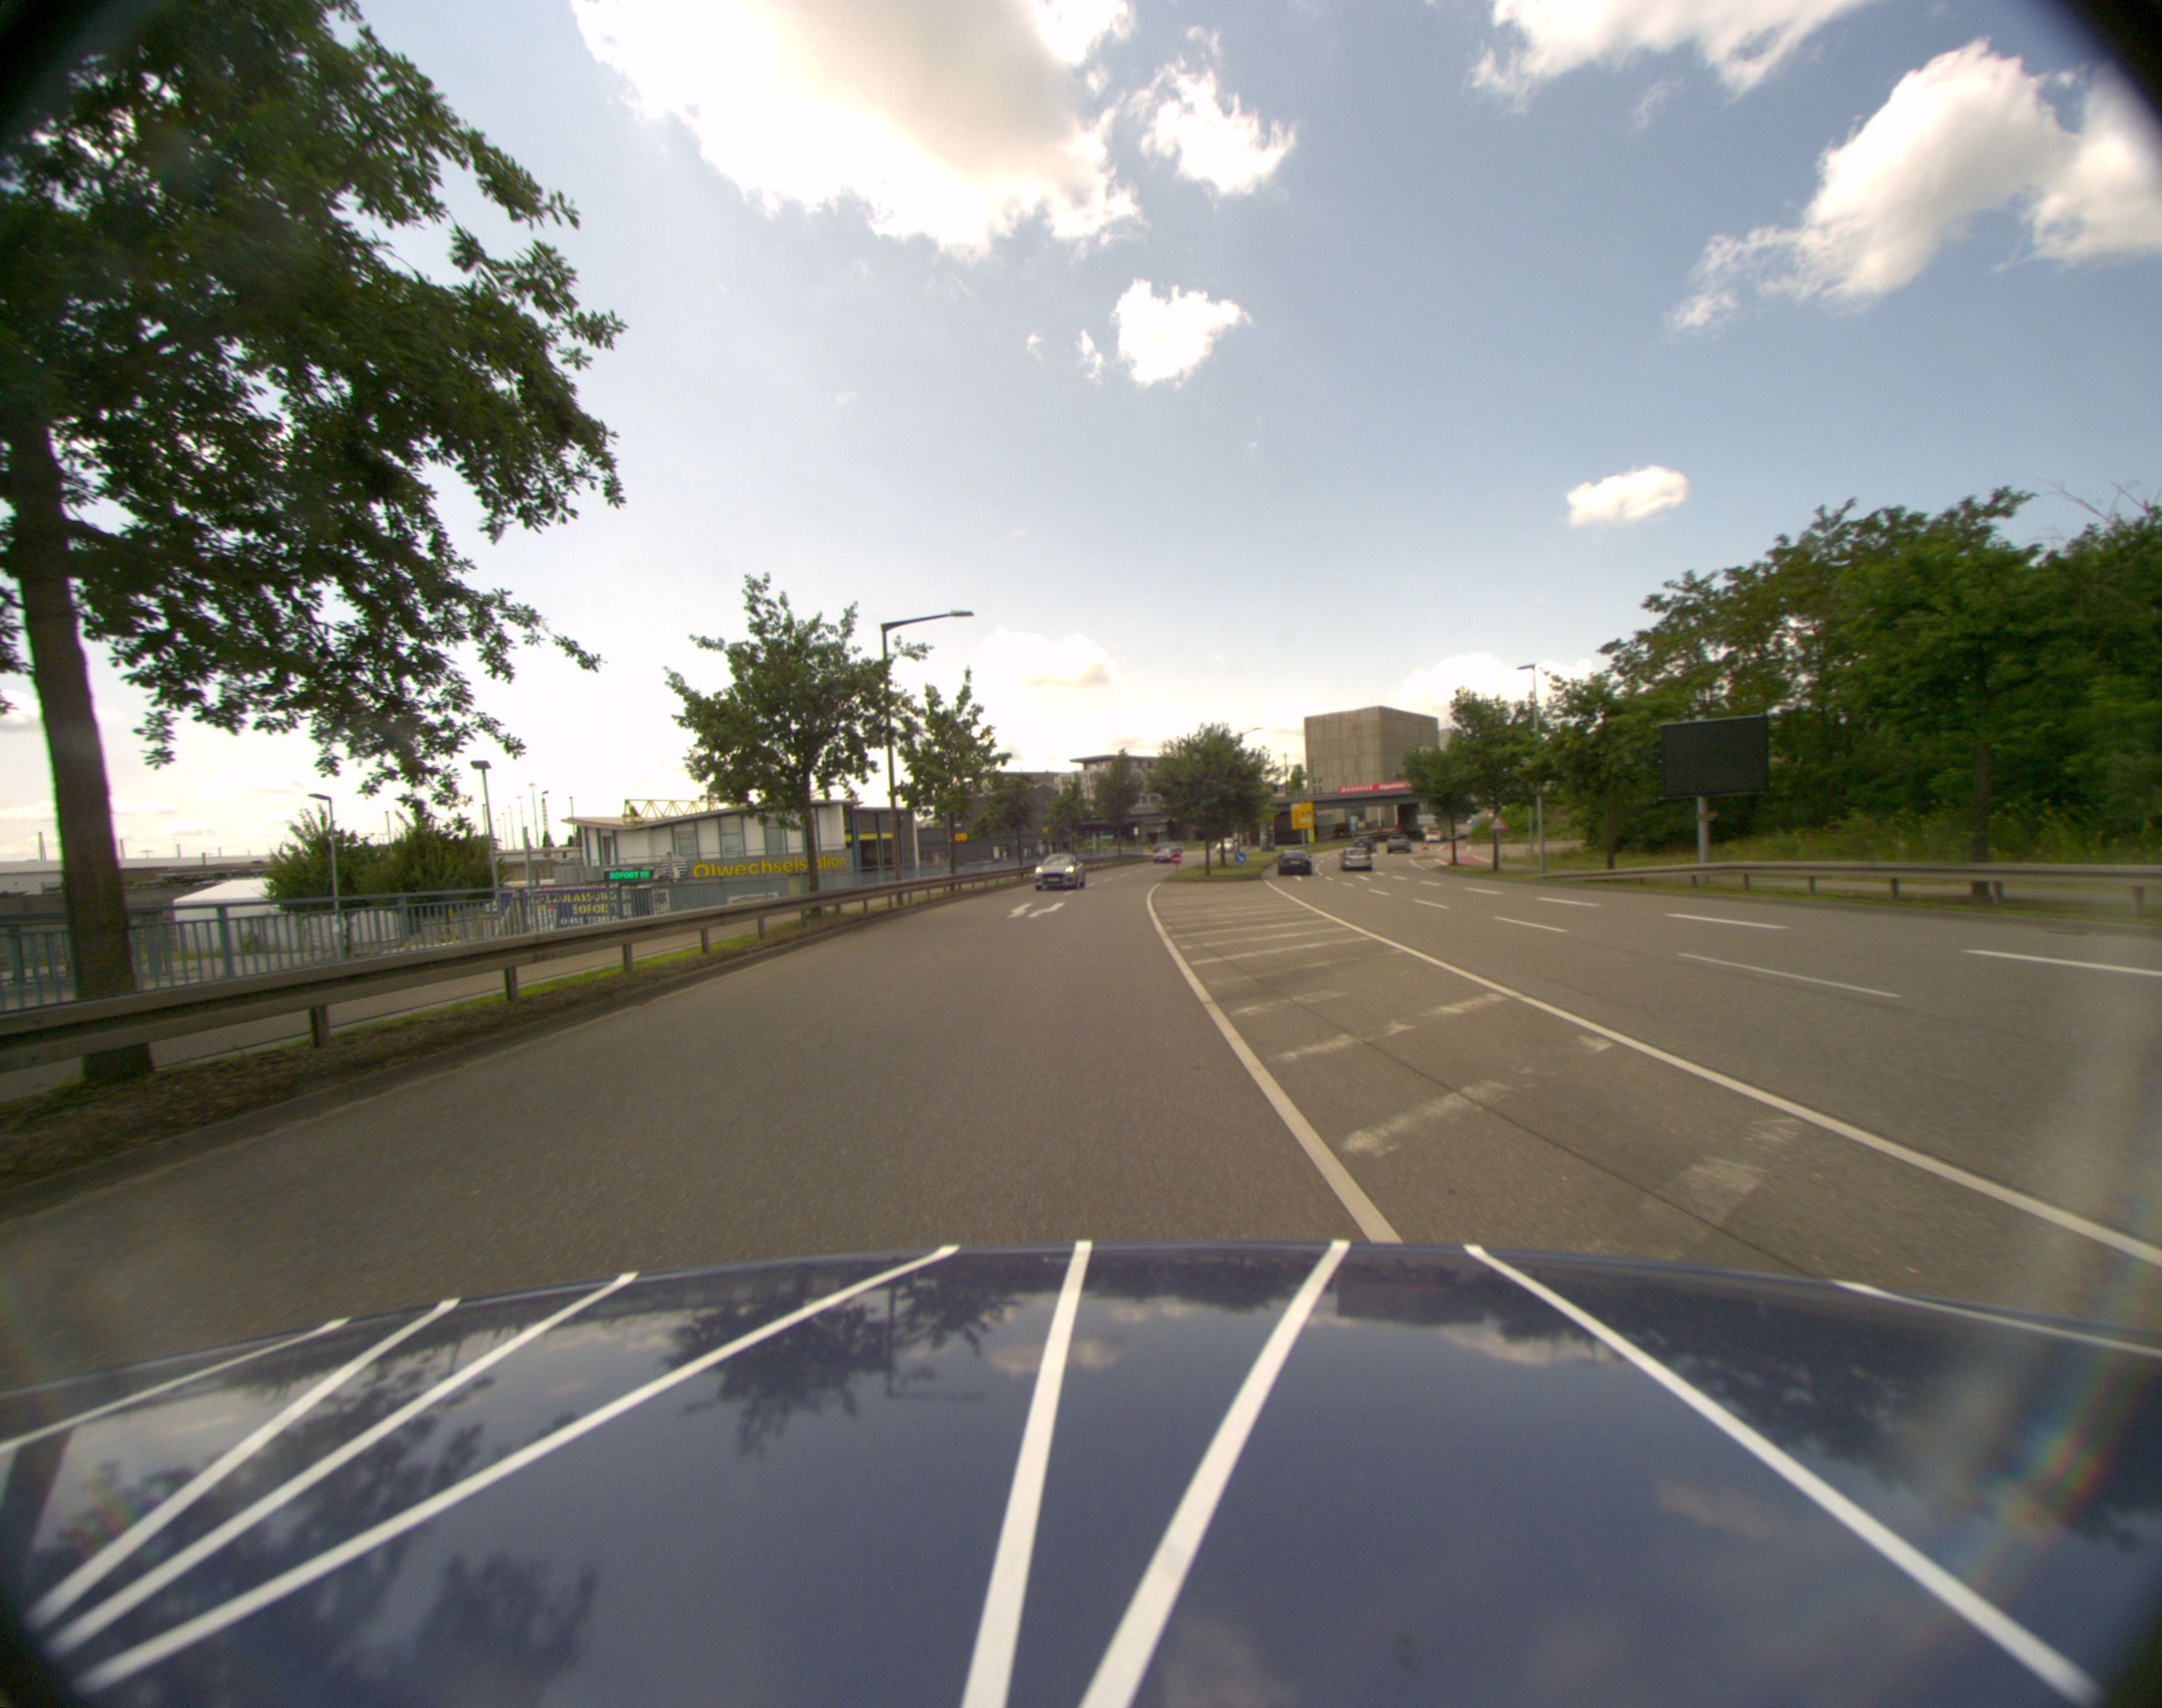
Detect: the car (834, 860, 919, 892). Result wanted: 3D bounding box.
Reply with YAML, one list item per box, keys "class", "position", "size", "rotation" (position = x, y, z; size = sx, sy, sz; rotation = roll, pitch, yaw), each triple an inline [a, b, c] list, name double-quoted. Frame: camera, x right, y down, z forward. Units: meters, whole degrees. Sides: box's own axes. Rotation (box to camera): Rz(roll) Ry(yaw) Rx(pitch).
- class: "car"
  position: [-15.619, 1.678, 58.195]
  size: [5.812, 2.003, 2.233]
  rotation: [-3, 3, 13]

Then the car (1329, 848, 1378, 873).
- class: "car"
  position: [17.053, 0.372, 47.707]
  size: [1.997, 1.388, 4.702]
  rotation: [-2, 0, 9]

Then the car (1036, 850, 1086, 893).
- class: "car"
  position: [-0.811, 0.728, 33.660]
  size: [1.823, 1.565, 3.953]
  rotation: [-5, 1, 2]

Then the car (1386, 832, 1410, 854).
- class: "car"
  position: [30.519, -1.088, 73.053]
  size: [1.995, 1.851, 4.721]
  rotation: [-2, 2, 23]

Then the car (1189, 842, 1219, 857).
- class: "car"
  position: [14.655, -0.524, 90.549]
  size: [1.709, 1.488, 3.656]
  rotation: [-1, 4, 42]

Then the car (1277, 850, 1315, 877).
- class: "car"
  position: [12.312, 0.496, 43.324]
  size: [1.905, 1.356, 4.580]
  rotation: [0, 1, 18]

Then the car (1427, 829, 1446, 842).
- class: "car"
  position: [44.890, -2.340, 95.977]
  size: [1.995, 1.524, 4.337]
  rotation: [0, 3, 24]

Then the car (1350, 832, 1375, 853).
- class: "car"
  position: [28.583, -1.171, 77.140]
  size: [1.995, 2.002, 4.825]
  rotation: [-3, 0, 24]
